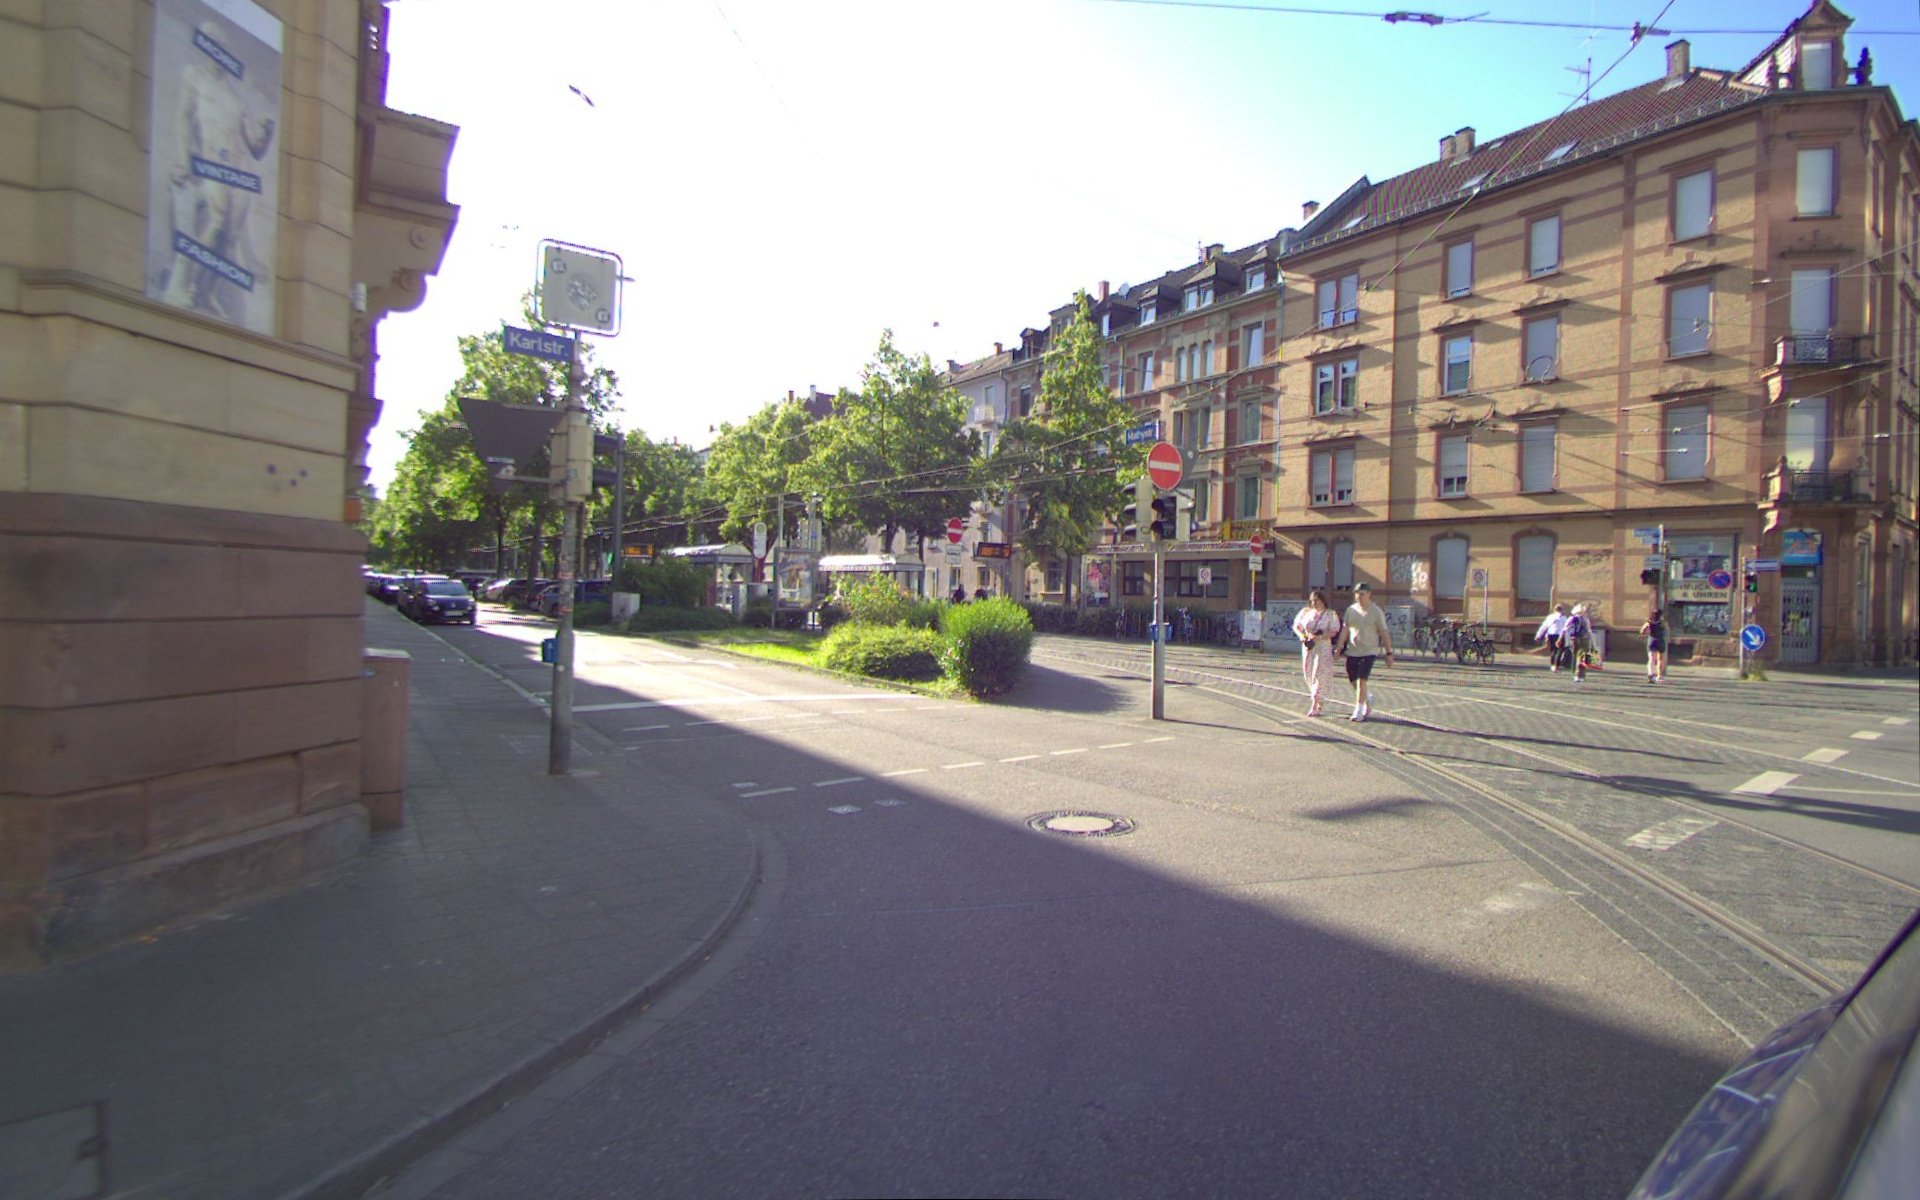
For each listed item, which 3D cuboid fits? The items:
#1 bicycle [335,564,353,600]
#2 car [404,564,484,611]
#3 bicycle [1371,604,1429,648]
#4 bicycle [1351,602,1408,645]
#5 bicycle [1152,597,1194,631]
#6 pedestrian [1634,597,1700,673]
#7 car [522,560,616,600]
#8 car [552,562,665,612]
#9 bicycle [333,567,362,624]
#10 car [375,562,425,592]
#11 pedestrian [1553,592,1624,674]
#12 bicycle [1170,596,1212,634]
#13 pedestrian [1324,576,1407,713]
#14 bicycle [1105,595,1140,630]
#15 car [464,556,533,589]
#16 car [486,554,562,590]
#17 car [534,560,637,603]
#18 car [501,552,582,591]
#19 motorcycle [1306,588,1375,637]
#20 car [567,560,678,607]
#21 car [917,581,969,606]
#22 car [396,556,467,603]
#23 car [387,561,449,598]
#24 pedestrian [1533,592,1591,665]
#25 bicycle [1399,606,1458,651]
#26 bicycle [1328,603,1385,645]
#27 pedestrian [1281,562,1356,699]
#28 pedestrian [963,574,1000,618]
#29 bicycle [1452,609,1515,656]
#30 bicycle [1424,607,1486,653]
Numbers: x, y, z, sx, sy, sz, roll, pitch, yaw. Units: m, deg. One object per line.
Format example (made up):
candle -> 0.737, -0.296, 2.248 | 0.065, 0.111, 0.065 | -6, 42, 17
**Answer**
bicycle -> -21.183, -0.632, 34.805 | 0.515, 1.188, 2.196 | 1, 1, -31
car -> -17.347, -0.445, 33.926 | 1.858, 1.416, 4.001 | 3, 0, -34
bicycle -> 13.020, 0.777, 29.884 | 2.271, 1.225, 0.650 | 3, 0, -42
bicycle -> 12.657, 0.730, 30.496 | 2.271, 1.225, 0.650 | 3, 0, -42
bicycle -> 7.372, 0.492, 34.943 | 0.647, 1.143, 2.013 | 3, 0, 35
pedestrian -> 15.148, 0.741, 21.690 | 0.922, 1.556, 0.636 | 1, 1, -8
car -> -18.280, -0.933, 47.346 | 3.920, 1.816, 1.834 | 0, 0, -29
car -> -13.232, -0.486, 38.107 | 3.778, 1.816, 1.698 | 0, 0, -29
bicycle -> -13.649, -0.123, 22.542 | 0.515, 1.188, 2.196 | 1, 1, -31
car -> -29.008, -1.176, 52.388 | 1.858, 1.416, 4.001 | 3, 0, -34
pedestrian -> 13.275, 0.680, 21.386 | 0.923, 1.652, 0.926 | 0, 2, -32
bicycle -> 7.874, 0.487, 34.403 | 0.647, 1.224, 2.014 | 3, 2, 35
pedestrian -> 5.144, 0.545, 12.865 | 0.618, 1.675, 0.704 | 1, 1, -18
bicycle -> 5.638, 0.419, 35.088 | 0.644, 1.143, 2.023 | 3, 0, 24
car -> -29.645, -1.726, 65.014 | 3.919, 2.039, 2.002 | 0, 0, -29
car -> -25.459, -1.616, 59.067 | 3.919, 2.039, 2.002 | 0, 0, -29
car -> -16.045, -0.782, 43.362 | 3.920, 1.775, 1.834 | 0, 0, -29
car -> -22.947, -1.521, 55.483 | 3.919, 2.039, 2.002 | 0, 0, -29
motorcycle -> 12.277, 0.384, 32.726 | 1.916, 1.422, 0.862 | 4, 0, 14
car -> -13.476, -0.657, 40.418 | 3.920, 1.816, 1.834 | 0, 0, -29
car -> -1.112, -0.439, 63.887 | 1.710, 1.437, 3.773 | 0, 2, -29
car -> -19.802, -0.753, 37.857 | 1.858, 1.587, 4.001 | 3, 0, -34
car -> -23.027, -0.884, 42.899 | 1.858, 1.416, 4.001 | 3, 0, -34
pedestrian -> 14.442, 0.659, 24.266 | 0.992, 1.652, 0.923 | 0, 2, -43
bicycle -> 13.568, 0.843, 29.273 | 2.271, 1.225, 0.650 | 3, 0, -42
bicycle -> 12.190, 0.749, 31.077 | 2.271, 1.225, 0.650 | 3, 0, -42
pedestrian -> 4.778, 0.387, 13.501 | 0.690, 1.767, 0.647 | 0, 0, -16
pedestrian -> 0.833, -0.181, 38.996 | 1.002, 1.652, 1.010 | 2, 2, 34
bicycle -> 14.513, 0.900, 28.031 | 2.271, 1.225, 0.752 | 3, 0, -42
bicycle -> 14.059, 0.849, 28.718 | 2.271, 1.225, 0.752 | 2, 1, -42
